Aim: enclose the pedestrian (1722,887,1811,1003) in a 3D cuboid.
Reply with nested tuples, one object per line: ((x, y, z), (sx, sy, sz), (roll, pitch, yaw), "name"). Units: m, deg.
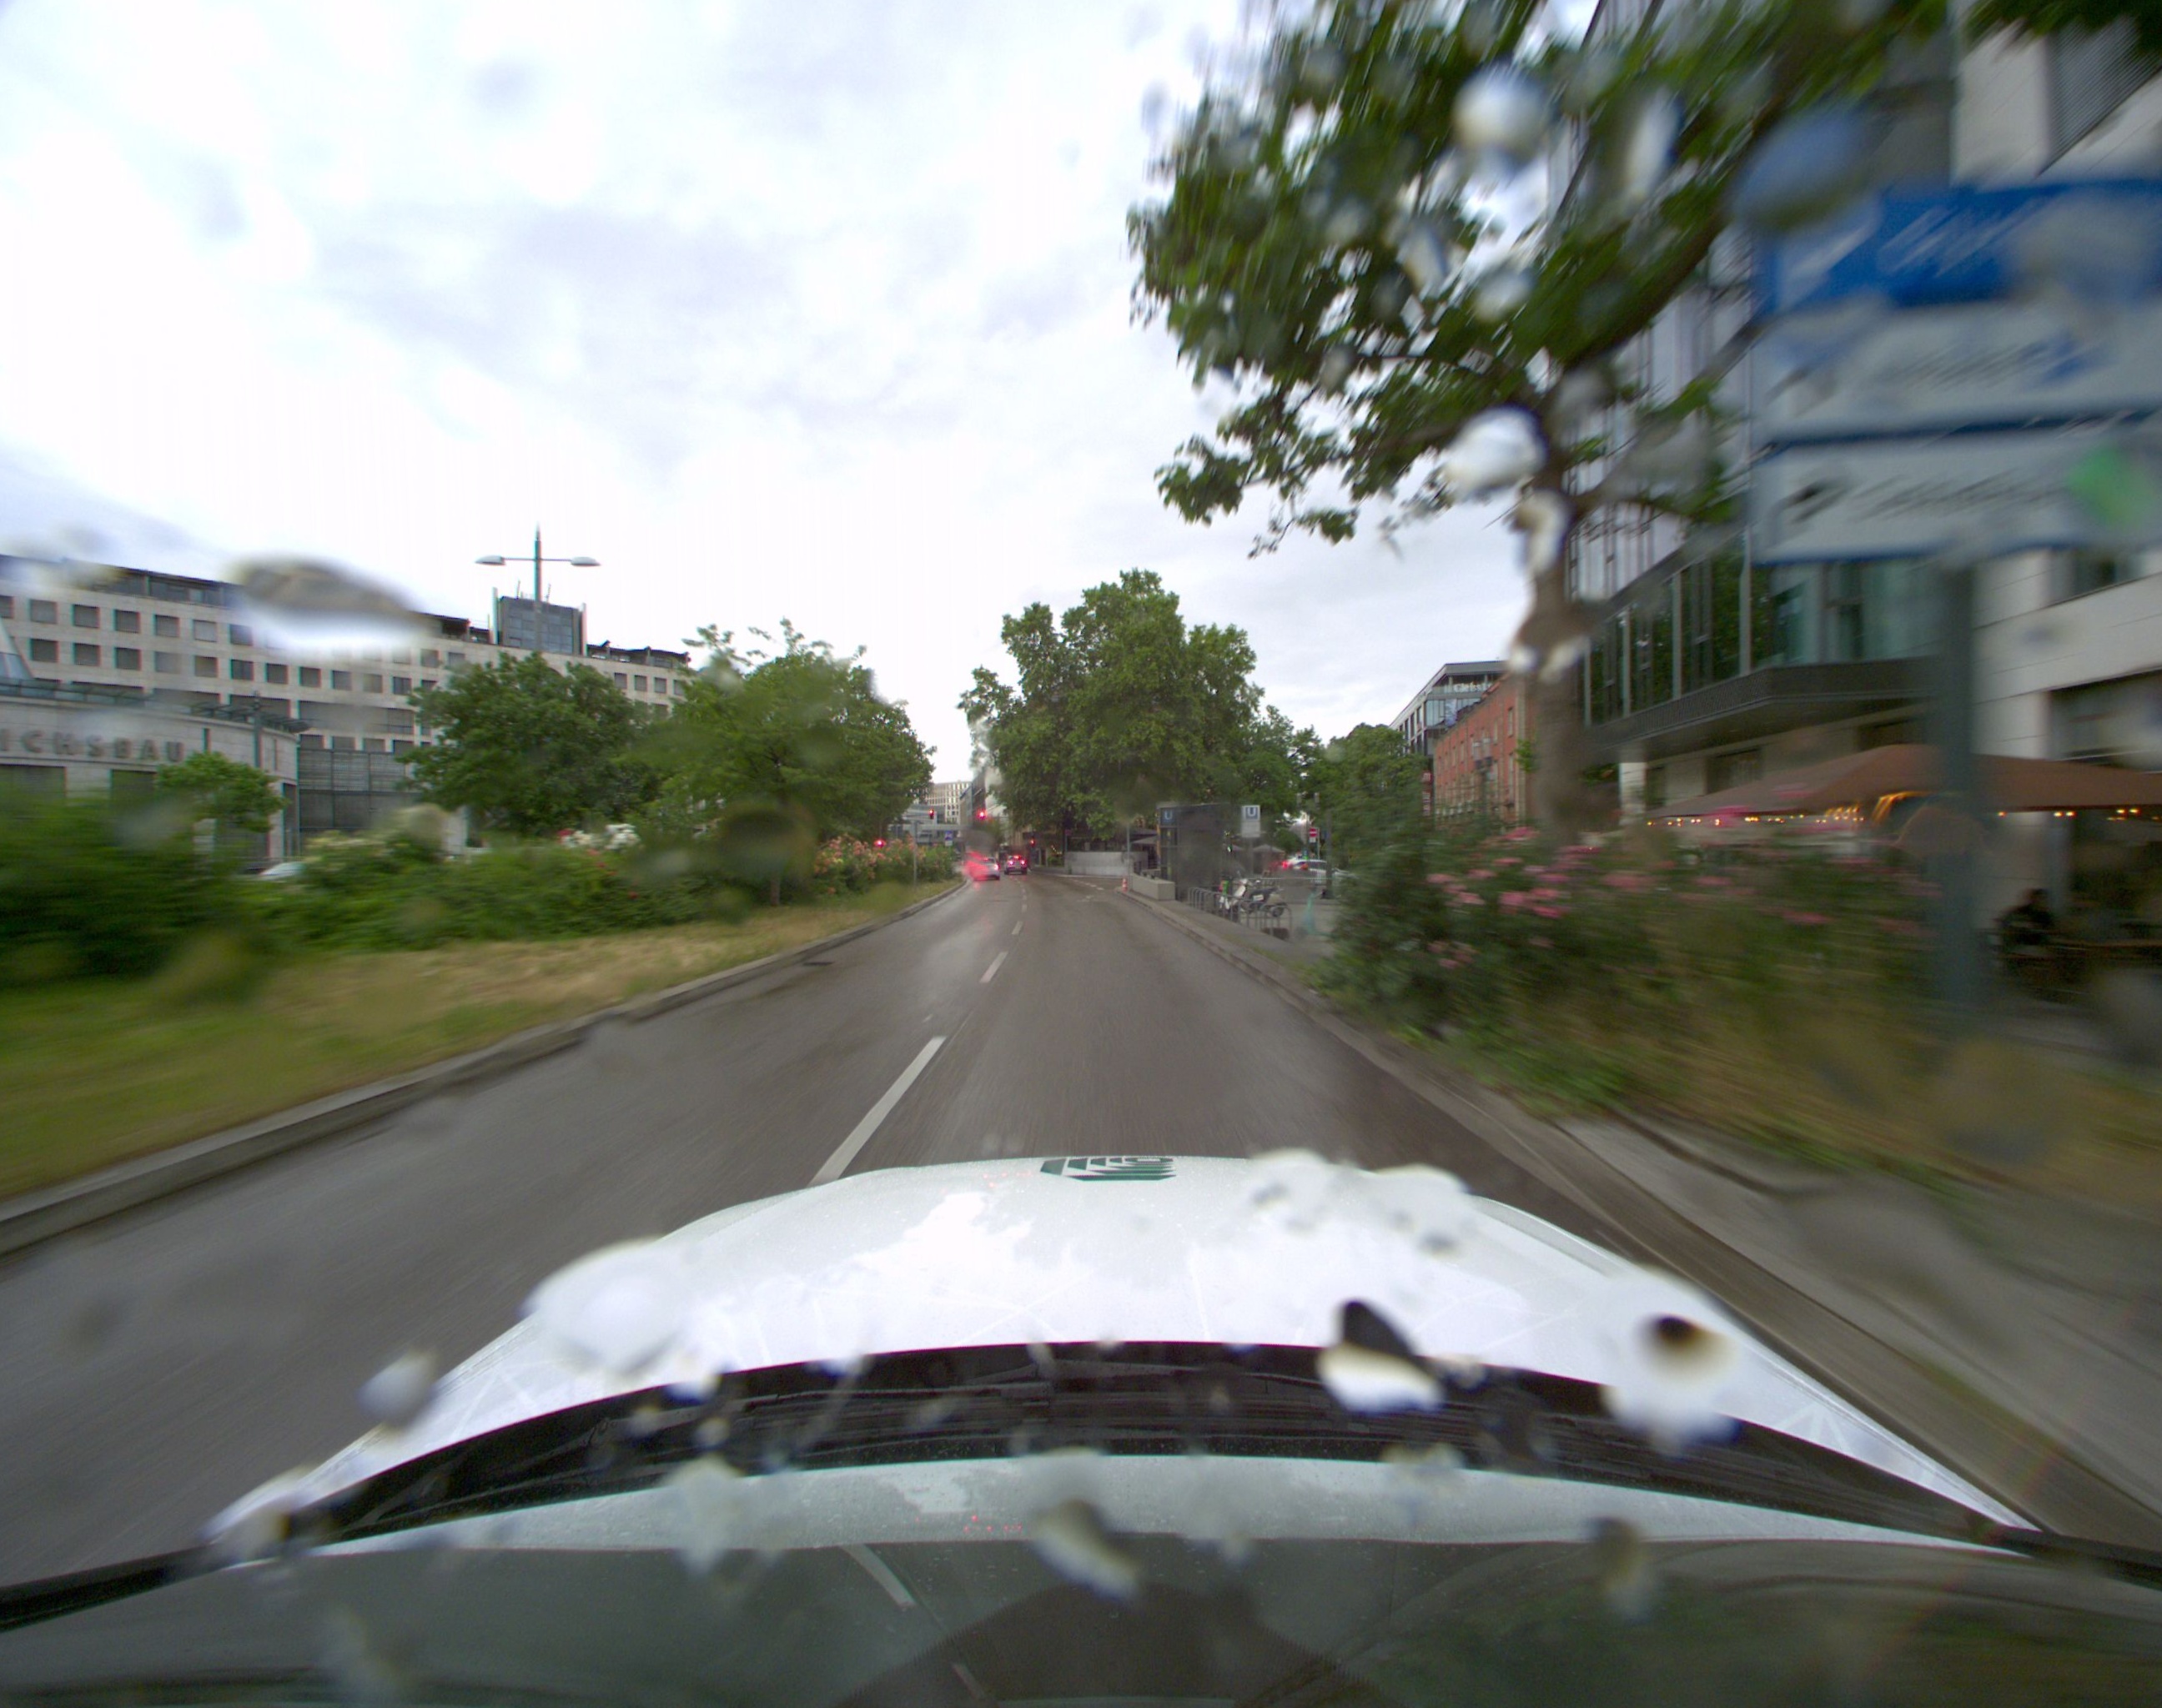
((8.367, 1.090, 9.960), (0.602, 1.326, 0.569), (2, 0, 10), "pedestrian")

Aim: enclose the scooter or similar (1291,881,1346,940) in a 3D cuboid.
((5.336, 1.256, 18.324), (1.092, 1.272, 0.479), (0, 0, -14), "scooter or similar")

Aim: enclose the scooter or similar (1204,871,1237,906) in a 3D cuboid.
((4.952, 1.213, 28.956), (1.110, 1.234, 0.364), (0, 0, -4), "scooter or similar")

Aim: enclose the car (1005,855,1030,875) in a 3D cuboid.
((-5.693, 0.984, 72.765), (1.946, 1.666, 4.332), (0, -1, -9), "car")

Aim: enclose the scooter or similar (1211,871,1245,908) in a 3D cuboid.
((5.067, 1.229, 28.127), (1.110, 1.237, 0.364), (0, 0, -4), "scooter or similar")

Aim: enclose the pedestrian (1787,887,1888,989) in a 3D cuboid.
((10.645, 1.160, 11.483), (0.812, 1.326, 0.637), (2, 0, 10), "pedestrian")

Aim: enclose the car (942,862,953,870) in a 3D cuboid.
((-25.698, 2.306, 156.822), (1.980, 1.463, 4.328), (-3, 0, -12), "car")

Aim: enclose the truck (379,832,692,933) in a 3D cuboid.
((-15.855, 0.732, 24.837), (3.352, 2.510, 8.485), (-1, 0, 4), "truck")

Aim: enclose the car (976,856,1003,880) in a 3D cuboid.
((-6.149, 0.887, 54.281), (1.589, 1.491, 3.494), (-2, 0, -9), "car")

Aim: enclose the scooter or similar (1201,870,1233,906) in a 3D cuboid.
((4.903, 1.237, 29.378), (1.110, 1.269, 0.364), (0, 0, -4), "scooter or similar")

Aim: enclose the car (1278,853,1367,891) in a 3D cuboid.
((12.093, 0.888, 40.974), (4.072, 1.621, 1.868), (3, -1, 10), "car")

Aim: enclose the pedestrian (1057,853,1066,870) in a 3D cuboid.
((-2.088, 0.831, 85.794), (0.858, 1.780, 0.716), (-1, -1, -6), "pedestrian")

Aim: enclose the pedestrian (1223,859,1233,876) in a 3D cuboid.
((12.181, 1.092, 67.443), (0.609, 1.412, 0.627), (2, -1, -16), "pedestrian")

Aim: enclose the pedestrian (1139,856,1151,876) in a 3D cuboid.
((4.450, 0.832, 56.690), (0.683, 1.410, 0.903), (2, -1, -4), "pedestrian")

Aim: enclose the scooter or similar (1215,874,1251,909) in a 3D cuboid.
((5.168, 1.282, 27.702), (1.110, 1.158, 0.443), (0, 0, -4), "scooter or similar")

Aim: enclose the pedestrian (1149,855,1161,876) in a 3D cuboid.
((5.164, 0.822, 56.794), (0.683, 1.410, 0.903), (2, -1, -4), "pedestrian")

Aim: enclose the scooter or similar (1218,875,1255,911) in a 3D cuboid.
((5.197, 1.290, 27.190), (1.110, 1.158, 0.531), (0, 0, -4), "scooter or similar")

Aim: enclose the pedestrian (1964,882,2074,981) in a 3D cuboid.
((13.476, 1.089, 11.722), (0.812, 1.326, 0.637), (2, 0, 10), "pedestrian")

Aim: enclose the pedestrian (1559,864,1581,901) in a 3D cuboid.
((24.829, 1.432, 41.366), (0.606, 1.809, 0.808), (1, 0, -1), "pedestrian")

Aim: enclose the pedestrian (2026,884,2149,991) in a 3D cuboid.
((13.434, 1.090, 10.892), (0.812, 1.326, 0.637), (2, 0, 10), "pedestrian")

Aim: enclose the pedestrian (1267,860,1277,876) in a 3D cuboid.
((16.127, 1.184, 68.722), (0.627, 1.250, 0.608), (2, -1, -4), "pedestrian")

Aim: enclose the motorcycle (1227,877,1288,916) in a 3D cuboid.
((5.476, 1.314, 25.291), (1.773, 1.158, 0.606), (0, 0, -4), "motorcycle")

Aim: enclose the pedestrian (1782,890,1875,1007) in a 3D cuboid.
((9.002, 1.115, 9.825), (0.602, 1.326, 0.569), (2, 0, 10), "pedestrian")

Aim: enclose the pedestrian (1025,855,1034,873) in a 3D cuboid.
((-5.234, 1.010, 82.454), (0.858, 1.780, 0.716), (-1, -1, -6), "pedestrian")

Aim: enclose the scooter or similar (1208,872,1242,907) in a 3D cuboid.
((5.029, 1.231, 28.531), (1.110, 1.216, 0.364), (0, 0, -4), "scooter or similar")

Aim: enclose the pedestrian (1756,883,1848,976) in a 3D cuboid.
((10.888, 1.121, 12.321), (0.812, 1.326, 0.637), (2, 0, 10), "pedestrian")
